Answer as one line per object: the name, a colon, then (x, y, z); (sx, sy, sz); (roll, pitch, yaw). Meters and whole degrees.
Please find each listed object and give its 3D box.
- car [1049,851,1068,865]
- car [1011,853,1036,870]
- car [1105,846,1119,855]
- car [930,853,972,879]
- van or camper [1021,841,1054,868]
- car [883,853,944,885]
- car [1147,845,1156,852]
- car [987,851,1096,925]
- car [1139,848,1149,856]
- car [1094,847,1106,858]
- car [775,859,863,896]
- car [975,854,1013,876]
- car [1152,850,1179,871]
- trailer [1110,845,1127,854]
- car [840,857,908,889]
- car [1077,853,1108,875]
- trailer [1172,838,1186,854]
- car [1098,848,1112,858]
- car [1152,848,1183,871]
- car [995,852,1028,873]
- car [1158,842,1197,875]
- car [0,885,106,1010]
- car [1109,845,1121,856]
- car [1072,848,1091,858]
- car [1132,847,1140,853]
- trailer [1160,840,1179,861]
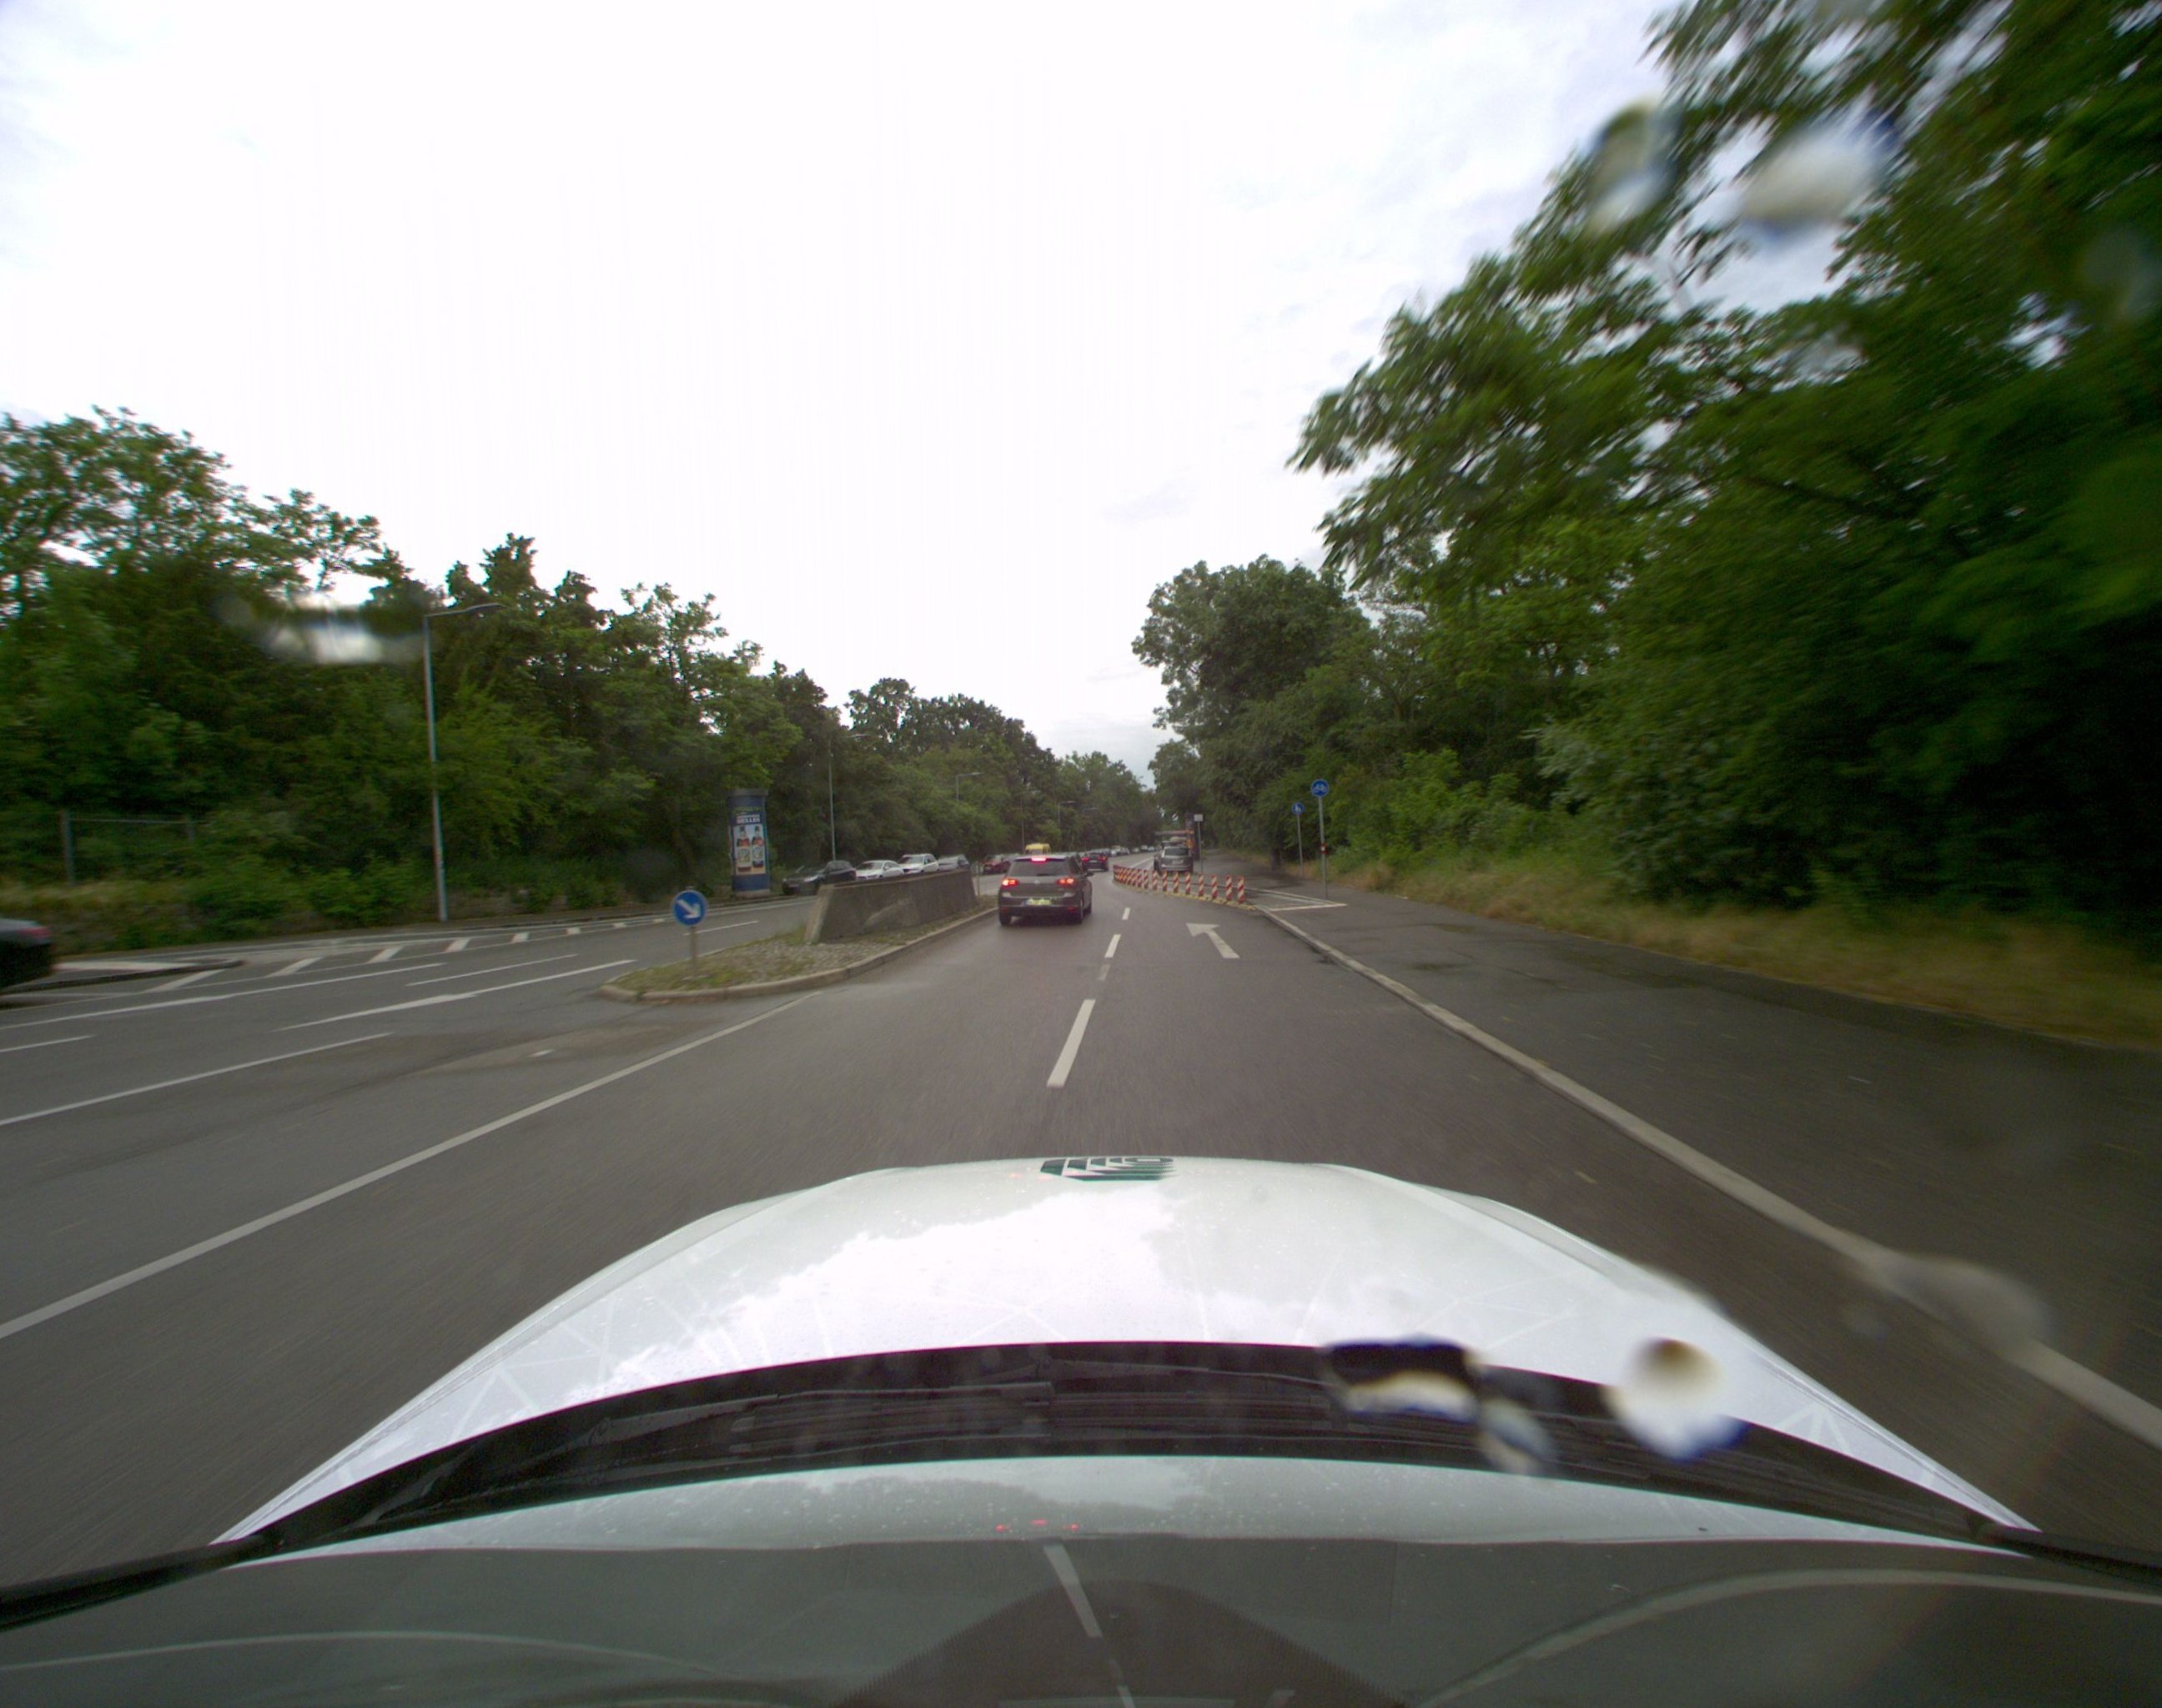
car: (-2.654, 0.482, 95.274); (1.593, 1.510, 3.147); (-2, 0, 9)
car: (-5.492, 0.741, 78.080); (1.608, 1.448, 3.666); (-3, 0, 9)
car: (5.683, -0.584, 147.698); (1.982, 1.488, 4.479); (-2, 0, 9)
car: (-8.883, 0.795, 56.054); (1.723, 1.649, 4.578); (-2, 0, 5)
van or camper: (-4.446, -0.009, 84.471); (2.131, 2.627, 5.697); (-3, 0, 9)
car: (-9.869, 0.840, 48.433); (1.982, 1.765, 4.971); (-2, 0, 8)
car: (21.818, -1.735, 251.906); (2.146, 2.013, 5.044); (-3, 0, 9)
car: (-0.744, 0.694, 18.214); (1.862, 1.441, 4.302); (-1, -1, 5)
car: (17.626, -0.663, 227.744); (2.146, 2.013, 5.044); (-3, 0, 9)
car: (2.982, -0.230, 128.113); (1.453, 1.571, 2.990); (-3, 0, 7)
car: (-11.741, 1.028, 36.845); (1.738, 1.445, 4.600); (-2, 0, 10)
car: (-7.160, 0.914, 67.616); (1.908, 1.617, 4.501); (-3, 0, 9)
car: (6.273, 0.439, 60.048); (1.846, 1.455, 4.760); (-1, 0, 6)
trailer: (7.514, -0.862, 163.051); (1.609, 1.628, 3.696); (-2, 0, 39)
car: (-10.711, 0.967, 42.577); (1.708, 1.460, 4.719); (-2, 0, 8)
car: (0.853, 0.658, 57.430); (1.872, 1.466, 4.006); (0, 1, 5)
trailer: (16.656, -1.317, 138.653); (2.121, 2.560, 4.305); (-2, 0, 6)
car: (4.076, -0.220, 138.905); (1.868, 1.561, 4.479); (-2, 0, 9)
car: (5.698, 0.360, 53.862); (1.845, 1.399, 4.390); (-1, 0, 4)
car: (-6.193, 0.765, 73.144); (1.983, 1.700, 4.624); (-2, 0, 6)
car: (5.137, 0.215, 43.835); (1.814, 1.615, 4.256); (-2, 0, 4)
car: (-13.629, 1.104, 8.070); (1.896, 1.414, 4.792); (-1, -1, 7)
car: (6.690, -0.608, 158.172); (1.930, 2.013, 4.748); (-2, 0, 6)
car: (0.060, -0.129, 110.188); (1.859, 1.304, 4.480); (-2, 0, 8)
car: (13.630, -1.052, 202.942); (1.663, 1.513, 3.638); (-2, 1, 8)
trailer: (10.091, -0.460, 92.446); (1.895, 2.247, 4.778); (-2, 0, 8)
